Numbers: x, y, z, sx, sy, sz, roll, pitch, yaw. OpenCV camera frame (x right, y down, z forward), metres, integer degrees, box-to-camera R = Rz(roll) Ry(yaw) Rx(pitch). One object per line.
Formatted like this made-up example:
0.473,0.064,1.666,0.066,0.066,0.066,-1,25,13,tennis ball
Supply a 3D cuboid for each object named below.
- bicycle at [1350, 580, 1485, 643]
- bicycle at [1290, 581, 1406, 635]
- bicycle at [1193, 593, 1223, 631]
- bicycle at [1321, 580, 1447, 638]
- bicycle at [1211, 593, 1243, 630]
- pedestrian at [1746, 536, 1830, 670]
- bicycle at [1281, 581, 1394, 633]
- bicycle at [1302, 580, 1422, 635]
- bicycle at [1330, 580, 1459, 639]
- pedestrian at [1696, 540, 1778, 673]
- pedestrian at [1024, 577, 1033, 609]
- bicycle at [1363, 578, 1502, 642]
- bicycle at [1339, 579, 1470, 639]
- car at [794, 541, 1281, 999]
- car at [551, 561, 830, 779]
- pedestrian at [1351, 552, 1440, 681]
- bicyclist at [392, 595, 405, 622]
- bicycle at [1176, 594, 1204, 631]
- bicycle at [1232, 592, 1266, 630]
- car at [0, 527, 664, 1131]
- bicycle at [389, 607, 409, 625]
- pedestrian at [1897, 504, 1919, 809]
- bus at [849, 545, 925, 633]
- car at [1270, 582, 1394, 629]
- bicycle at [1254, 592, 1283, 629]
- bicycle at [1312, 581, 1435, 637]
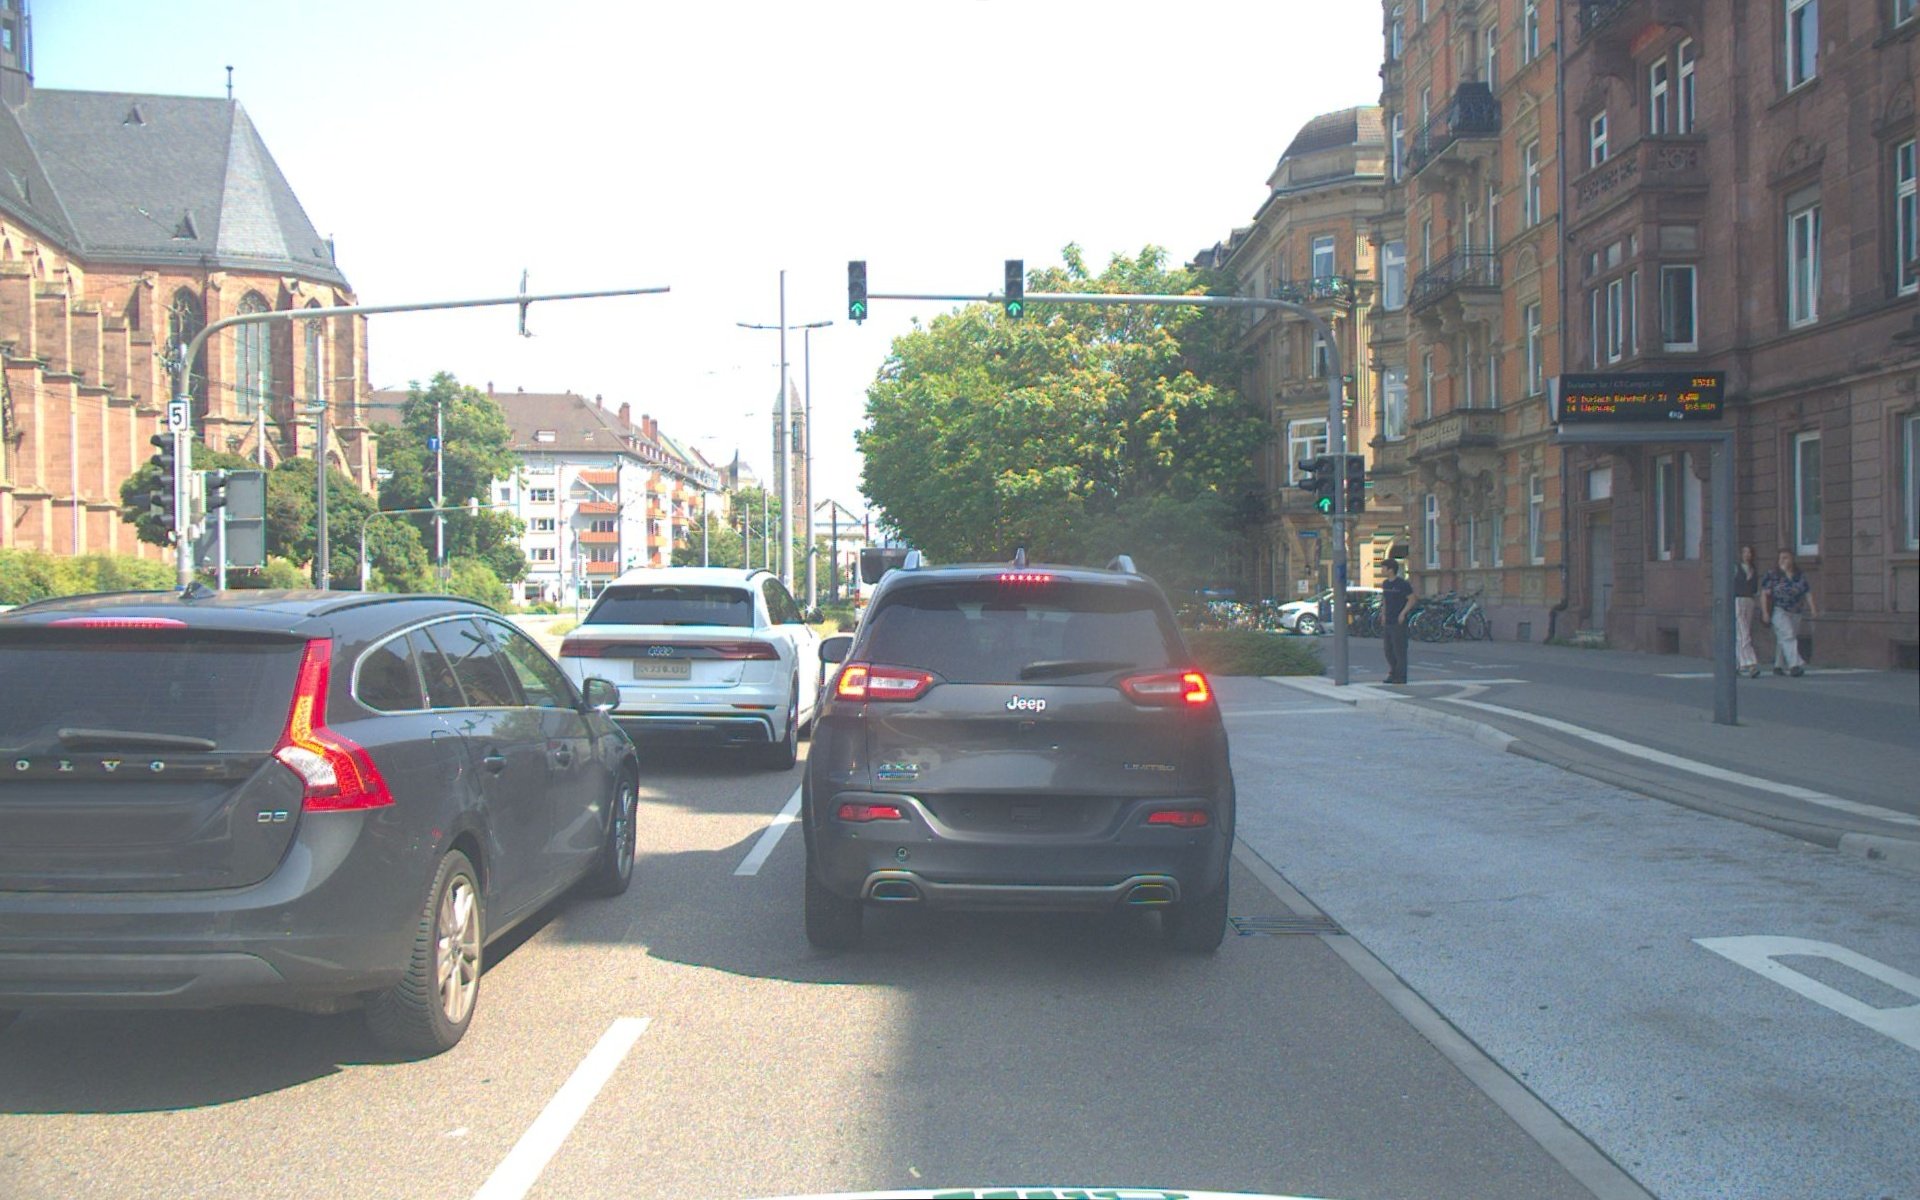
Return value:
10.780,0.266,39.070,2.933,1.395,0.871,-1,0,-2,bicycle
10.613,0.219,45.294,2.943,1.397,0.947,-1,0,-2,bicycle
8.772,0.404,58.582,0.636,1.275,3.014,-1,0,1,bicycle
10.725,0.212,41.874,2.943,1.397,0.947,-1,0,-2,bicycle
9.458,0.395,58.591,0.717,1.275,3.014,-1,0,2,bicycle
11.463,0.041,22.928,0.700,1.809,0.870,-1,0,-2,pedestrian
10.558,0.198,46.335,2.943,1.397,0.947,-1,0,-2,bicycle
10.668,0.191,43.978,2.943,1.397,0.947,-1,0,-2,bicycle
10.738,0.223,40.930,2.933,1.395,0.871,-1,0,-2,bicycle
10.742,0.086,22.890,0.700,1.807,0.847,-1,0,-2,pedestrian
4.419,-0.452,107.004,0.518,2.049,0.532,-1,0,-3,pedestrian
10.884,0.223,38.166,2.933,1.395,0.871,-1,0,-2,bicycle
10.728,0.212,39.983,2.933,1.395,0.871,-1,0,-2,bicycle
0.303,0.617,8.303,1.795,1.680,4.308,1,0,0,car
-2.257,0.524,14.974,1.863,1.680,4.308,0,1,-1,car
6.152,0.231,23.401,0.759,1.771,0.891,-2,0,-33,pedestrian
-27.936,0.432,82.305,0.439,1.344,0.425,-1,0,0,bicyclist
8.125,0.418,58.597,0.636,1.275,3.014,-1,0,1,bicycle
10.231,0.381,58.618,0.747,1.275,3.014,-1,0,2,bicycle
-2.419,0.611,6.664,1.712,1.642,4.308,1,0,-1,car
-27.928,0.812,82.312,0.444,0.874,1.476,-1,0,1,bicycle
6.000,0.314,9.202,0.943,1.771,1.240,0,-2,8,pedestrian
-2.938,-0.401,66.445,2.688,3.161,11.949,1,0,-3,bus
12.944,0.191,57.677,3.858,1.547,1.680,-1,0,-8,car
11.013,0.365,59.063,0.644,1.271,2.413,-1,0,2,bicycle
10.721,0.225,42.969,2.943,1.397,0.947,-1,0,-2,bicycle
